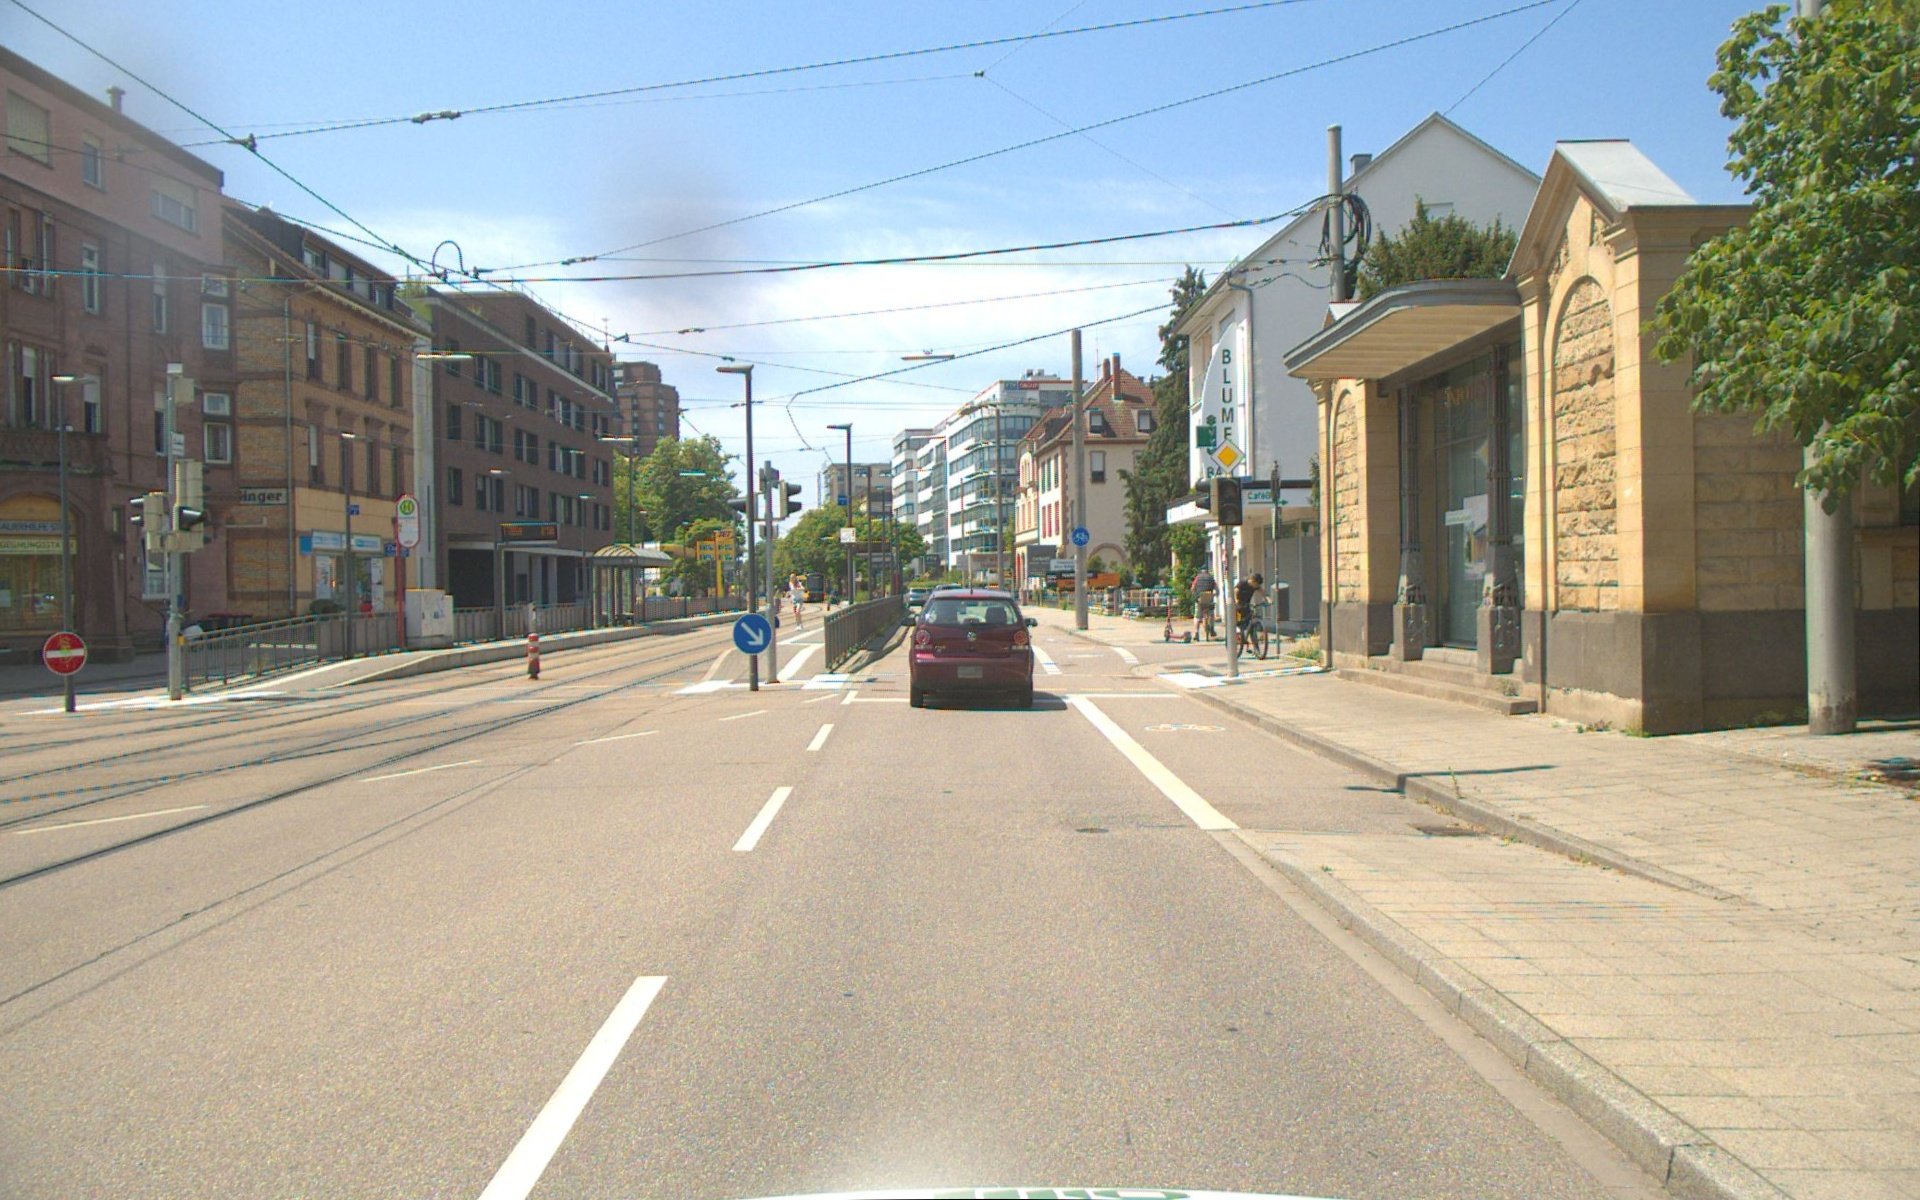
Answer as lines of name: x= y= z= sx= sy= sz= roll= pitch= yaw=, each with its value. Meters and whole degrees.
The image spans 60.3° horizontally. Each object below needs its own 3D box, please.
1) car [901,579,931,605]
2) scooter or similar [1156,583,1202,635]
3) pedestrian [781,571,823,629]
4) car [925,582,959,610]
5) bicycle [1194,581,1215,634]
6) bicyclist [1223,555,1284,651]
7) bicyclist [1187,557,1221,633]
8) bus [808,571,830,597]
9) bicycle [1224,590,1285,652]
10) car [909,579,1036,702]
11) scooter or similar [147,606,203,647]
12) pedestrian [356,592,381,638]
car: x=-3.476 y=-0.639 z=129.342 sx=1.956 sy=1.881 sz=3.994 roll=-2 pitch=1 yaw=-7
scooter or similar: x=5.206 y=0.207 z=39.375 sx=0.335 sy=1.198 sz=1.456 roll=-1 pitch=0 yaw=-24
pedestrian: x=-4.703 y=-0.002 z=49.202 sx=1.080 sy=1.704 sz=0.762 roll=-1 pitch=0 yaw=-18
car: x=-1.097 y=-0.245 z=101.160 sx=1.953 sy=1.653 sz=4.630 roll=-2 pitch=0 yaw=-2
bicycle: x=5.868 y=0.173 z=39.598 sx=0.367 sy=1.218 sz=1.907 roll=-1 pitch=1 yaw=11
bicyclist: x=5.348 y=0.041 z=30.199 sx=0.816 sy=1.645 sz=0.860 roll=-5 pitch=1 yaw=-1
bicyclist: x=5.858 y=-0.131 z=39.722 sx=0.712 sy=1.791 sz=0.925 roll=-1 pitch=1 yaw=12
bus: x=-16.875 y=-1.915 z=197.599 sx=2.106 sy=3.055 sz=6.559 roll=-2 pitch=0 yaw=-9
bicycle: x=5.319 y=0.361 z=29.950 sx=0.655 sy=1.019 sz=1.863 roll=-5 pitch=1 yaw=-1
car: x=0.117 y=0.488 z=21.917 sx=1.529 sy=1.479 sz=3.061 roll=-1 pitch=0 yaw=-2
scooter or similar: x=-22.065 y=0.740 z=46.504 sx=0.477 sy=1.101 sz=1.578 roll=-1 pitch=1 yaw=16
pedestrian: x=-20.458 y=0.512 z=57.209 sx=0.602 sy=1.588 sz=0.640 roll=-2 pitch=1 yaw=-1
